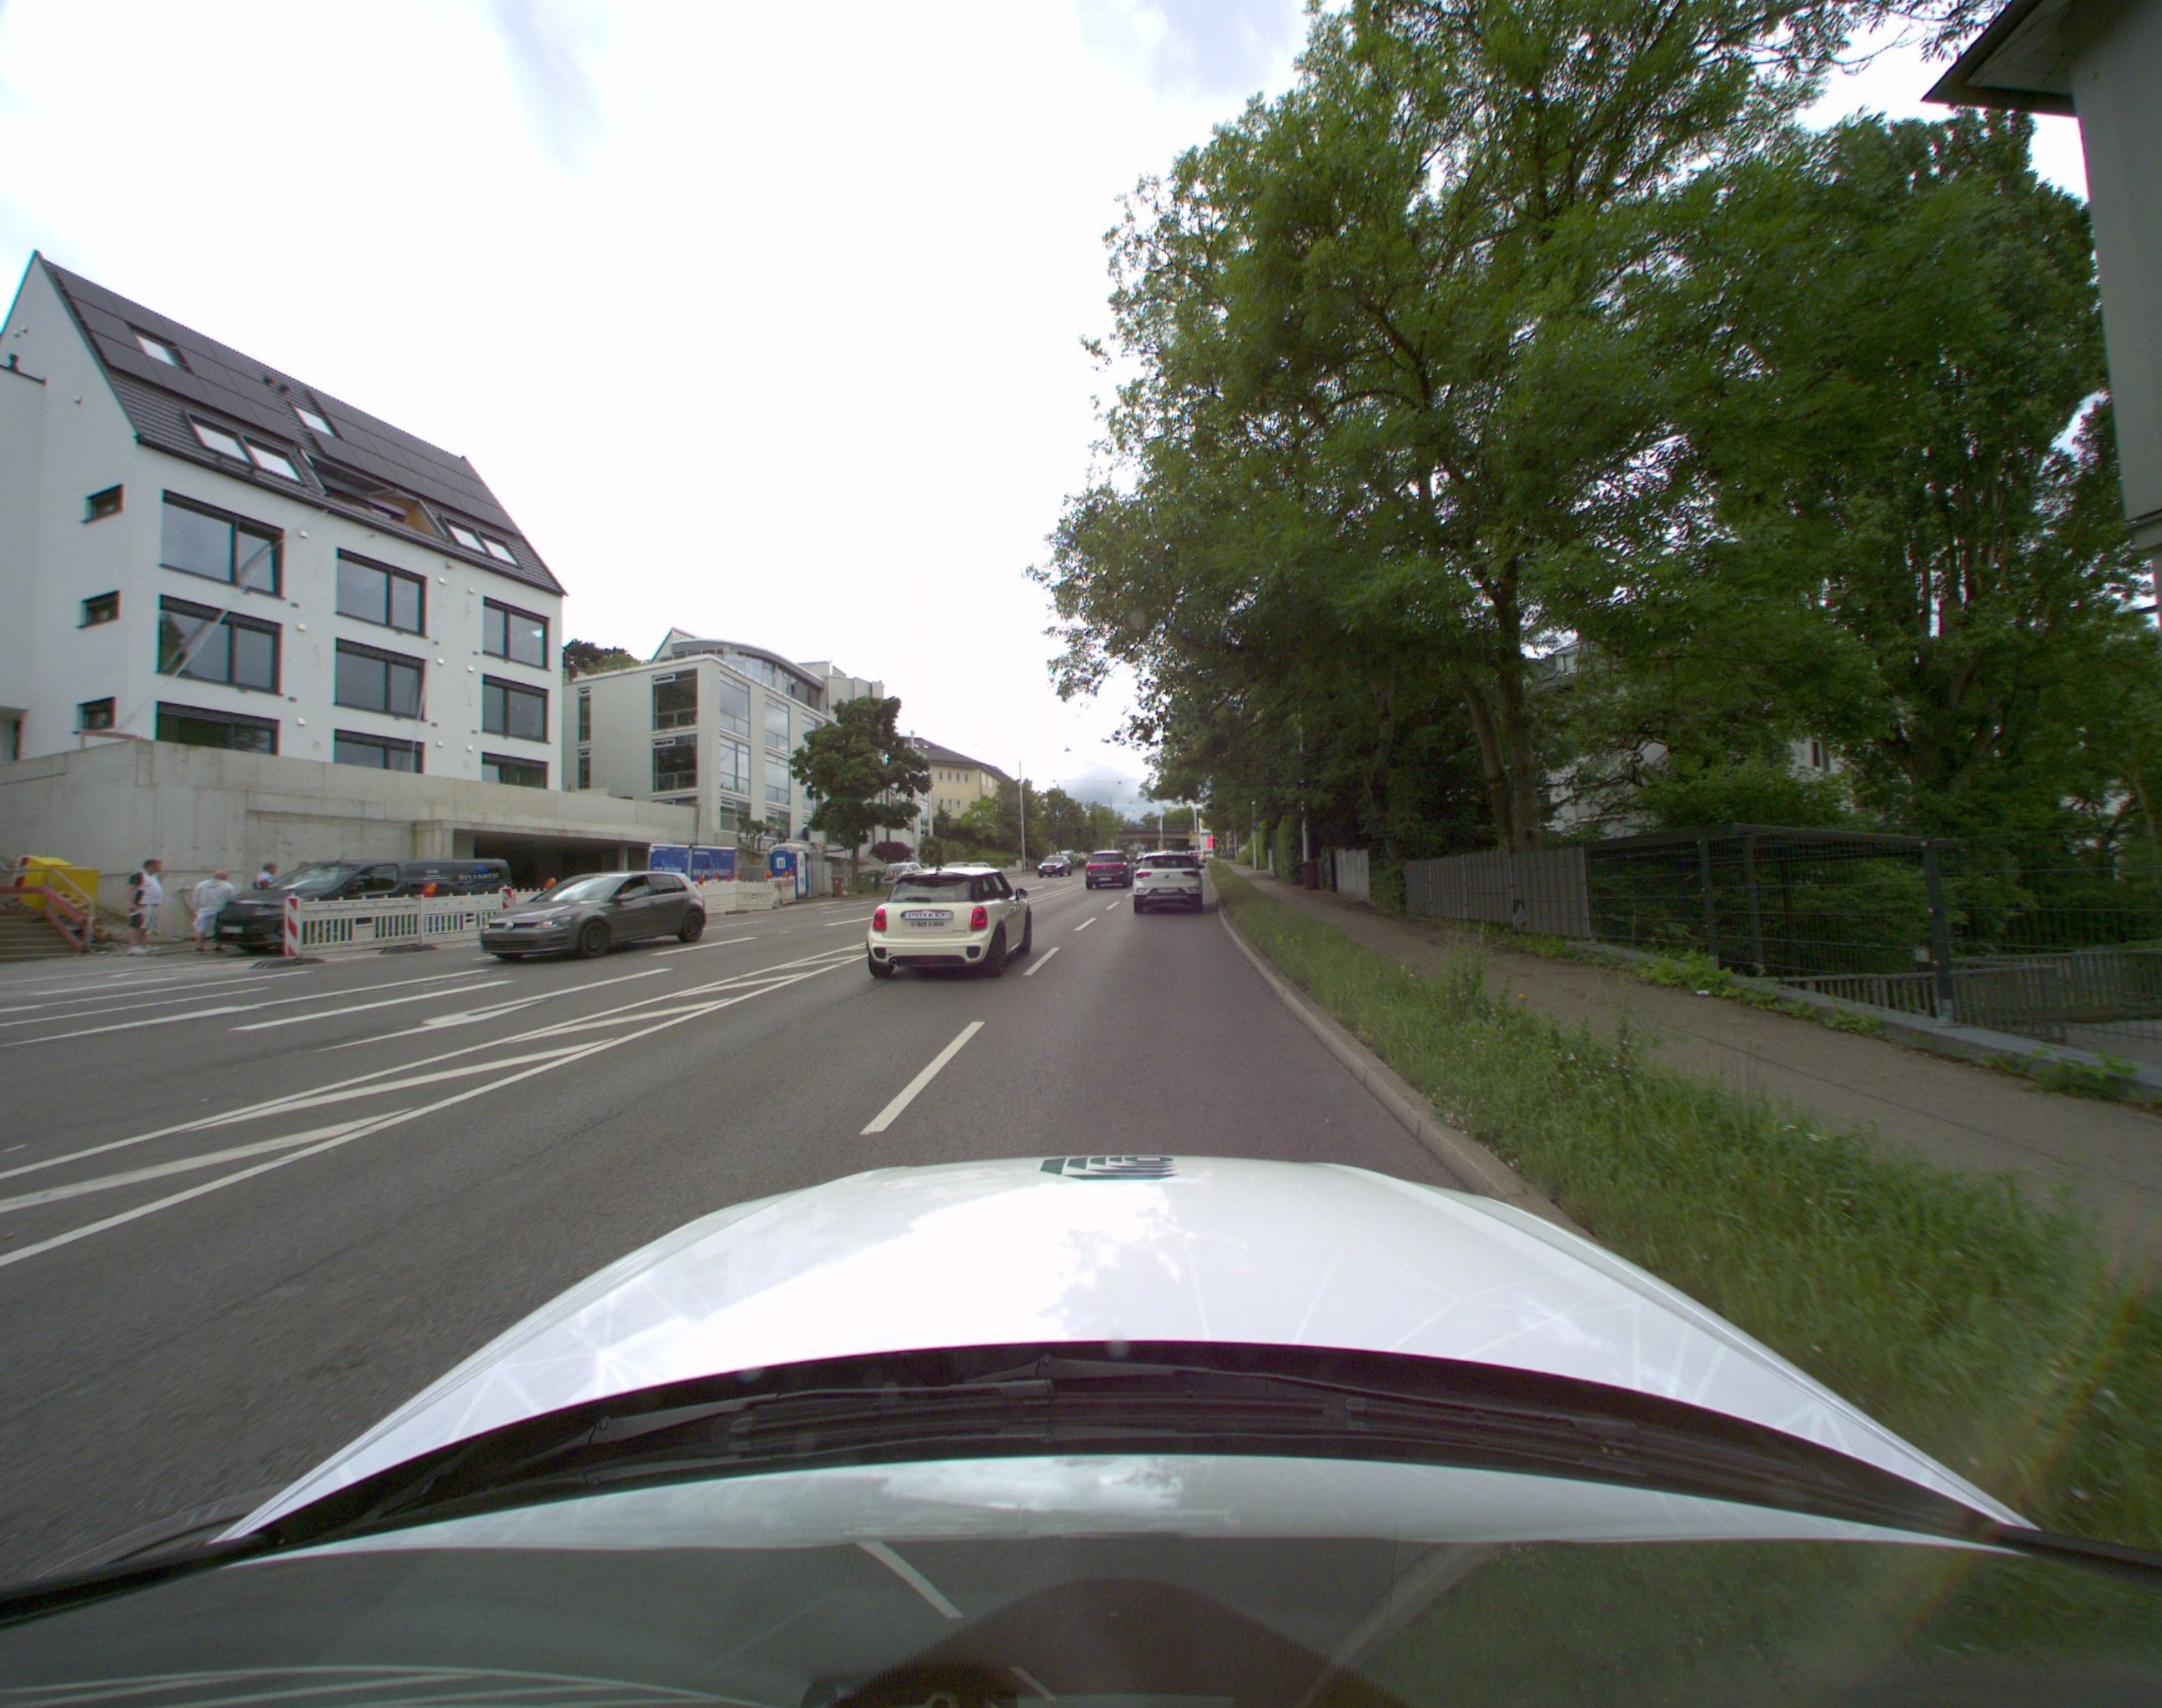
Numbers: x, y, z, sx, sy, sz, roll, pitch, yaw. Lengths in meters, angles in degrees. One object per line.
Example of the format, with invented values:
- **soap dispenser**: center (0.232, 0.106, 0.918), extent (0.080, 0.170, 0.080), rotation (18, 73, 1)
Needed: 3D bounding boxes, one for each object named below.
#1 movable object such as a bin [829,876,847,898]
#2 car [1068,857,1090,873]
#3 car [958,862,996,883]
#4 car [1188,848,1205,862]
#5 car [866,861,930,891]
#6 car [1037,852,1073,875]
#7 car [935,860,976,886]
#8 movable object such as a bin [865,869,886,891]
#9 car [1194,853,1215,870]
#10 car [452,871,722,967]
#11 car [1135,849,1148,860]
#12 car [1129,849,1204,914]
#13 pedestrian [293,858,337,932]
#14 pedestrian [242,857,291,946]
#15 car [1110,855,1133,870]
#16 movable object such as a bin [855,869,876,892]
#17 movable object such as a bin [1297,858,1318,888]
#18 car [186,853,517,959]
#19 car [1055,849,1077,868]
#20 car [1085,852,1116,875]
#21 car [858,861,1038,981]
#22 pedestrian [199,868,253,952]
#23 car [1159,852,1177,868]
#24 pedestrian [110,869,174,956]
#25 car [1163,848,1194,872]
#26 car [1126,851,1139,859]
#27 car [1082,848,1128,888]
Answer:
- **movable object such as a bin**: center (-10.237, 1.387, 34.282), extent (0.661, 0.879, 0.642), rotation (-1, 0, -24)
- **car**: center (-0.181, 1.196, 91.560), extent (2.059, 1.656, 4.699), rotation (-2, 0, 5)
- **car**: center (-7.900, 1.388, 62.240), extent (1.760, 1.407, 4.153), rotation (-2, 0, 9)
- **car**: center (13.831, 0.119, 97.960), extent (1.849, 1.500, 4.062), rotation (-2, 0, 6)
- **car**: center (-9.956, 1.175, 44.665), extent (1.759, 1.499, 4.318), rotation (-2, 0, 11)
- **car**: center (-1.939, 0.706, 62.137), extent (1.759, 1.634, 4.155), rotation (-2, 0, 11)
- **car**: center (-8.676, 1.284, 56.588), extent (1.761, 1.634, 3.924), rotation (-2, 0, 7)
- **movable object such as a bin**: center (-9.378, 1.177, 37.158), extent (0.640, 0.990, 0.663), rotation (-1, 0, 16)
- **car**: center (11.369, 0.699, 75.191), extent (1.862, 1.501, 4.565), rotation (1, -1, 8)
- **car**: center (-8.762, 1.074, 14.984), extent (1.832, 1.393, 4.296), rotation (-2, 0, 10)
- **car**: center (9.427, 0.074, 127.425), extent (1.887, 1.542, 4.699), rotation (-2, 0, 5)
- **car**: center (2.331, 0.685, 22.040), extent (1.802, 1.539, 3.696), rotation (-2, 0, 6)
- **pedestrian**: center (-17.307, 0.906, 18.415), extent (0.679, 1.640, 0.664), rotation (1, -1, -42)
- **pedestrian**: center (-17.426, 0.991, 17.445), extent (0.679, 1.840, 0.664), rotation (1, -1, -42)
- **car**: center (3.956, 0.827, 79.452), extent (1.731, 1.352, 4.857), rotation (-2, 0, 8)
- **movable object such as a bin**: center (-9.679, 1.199, 36.543), extent (0.640, 1.015, 0.663), rotation (-1, 0, 16)
- **movable object such as a bin**: center (7.308, 0.613, 26.293), extent (0.552, 0.947, 0.568), rotation (-1, 0, 4)
- **car**: center (-15.604, 0.994, 17.947), extent (1.969, 1.967, 5.235), rotation (-2, 0, 12)
- **car**: center (-1.908, 0.544, 105.526), extent (2.057, 2.306, 5.476), rotation (-2, 0, 7)
- **car**: center (1.532, 0.698, 62.741), extent (1.761, 1.596, 5.195), rotation (-2, 0, 8)
- **car**: center (-1.737, 0.841, 11.779), extent (1.619, 1.393, 3.572), rotation (-2, 0, 6)
- **pedestrian**: center (-17.277, 1.109, 16.463), extent (0.679, 1.640, 0.664), rotation (1, -1, -42)
- **car**: center (9.740, 0.640, 90.522), extent (1.848, 1.652, 4.645), rotation (-2, 0, 7)
- **pedestrian**: center (-18.455, 1.127, 16.015), extent (0.620, 1.640, 0.676), rotation (0, -1, 27)
- **car**: center (6.269, 0.413, 52.630), extent (1.864, 1.501, 4.561), rotation (1, -1, 5)
- **car**: center (9.890, 0.260, 156.988), extent (1.854, 1.500, 4.050), rotation (-2, 0, -3)
- **car**: center (1.011, 0.601, 36.892), extent (1.808, 1.652, 4.633), rotation (-2, 0, -1)
